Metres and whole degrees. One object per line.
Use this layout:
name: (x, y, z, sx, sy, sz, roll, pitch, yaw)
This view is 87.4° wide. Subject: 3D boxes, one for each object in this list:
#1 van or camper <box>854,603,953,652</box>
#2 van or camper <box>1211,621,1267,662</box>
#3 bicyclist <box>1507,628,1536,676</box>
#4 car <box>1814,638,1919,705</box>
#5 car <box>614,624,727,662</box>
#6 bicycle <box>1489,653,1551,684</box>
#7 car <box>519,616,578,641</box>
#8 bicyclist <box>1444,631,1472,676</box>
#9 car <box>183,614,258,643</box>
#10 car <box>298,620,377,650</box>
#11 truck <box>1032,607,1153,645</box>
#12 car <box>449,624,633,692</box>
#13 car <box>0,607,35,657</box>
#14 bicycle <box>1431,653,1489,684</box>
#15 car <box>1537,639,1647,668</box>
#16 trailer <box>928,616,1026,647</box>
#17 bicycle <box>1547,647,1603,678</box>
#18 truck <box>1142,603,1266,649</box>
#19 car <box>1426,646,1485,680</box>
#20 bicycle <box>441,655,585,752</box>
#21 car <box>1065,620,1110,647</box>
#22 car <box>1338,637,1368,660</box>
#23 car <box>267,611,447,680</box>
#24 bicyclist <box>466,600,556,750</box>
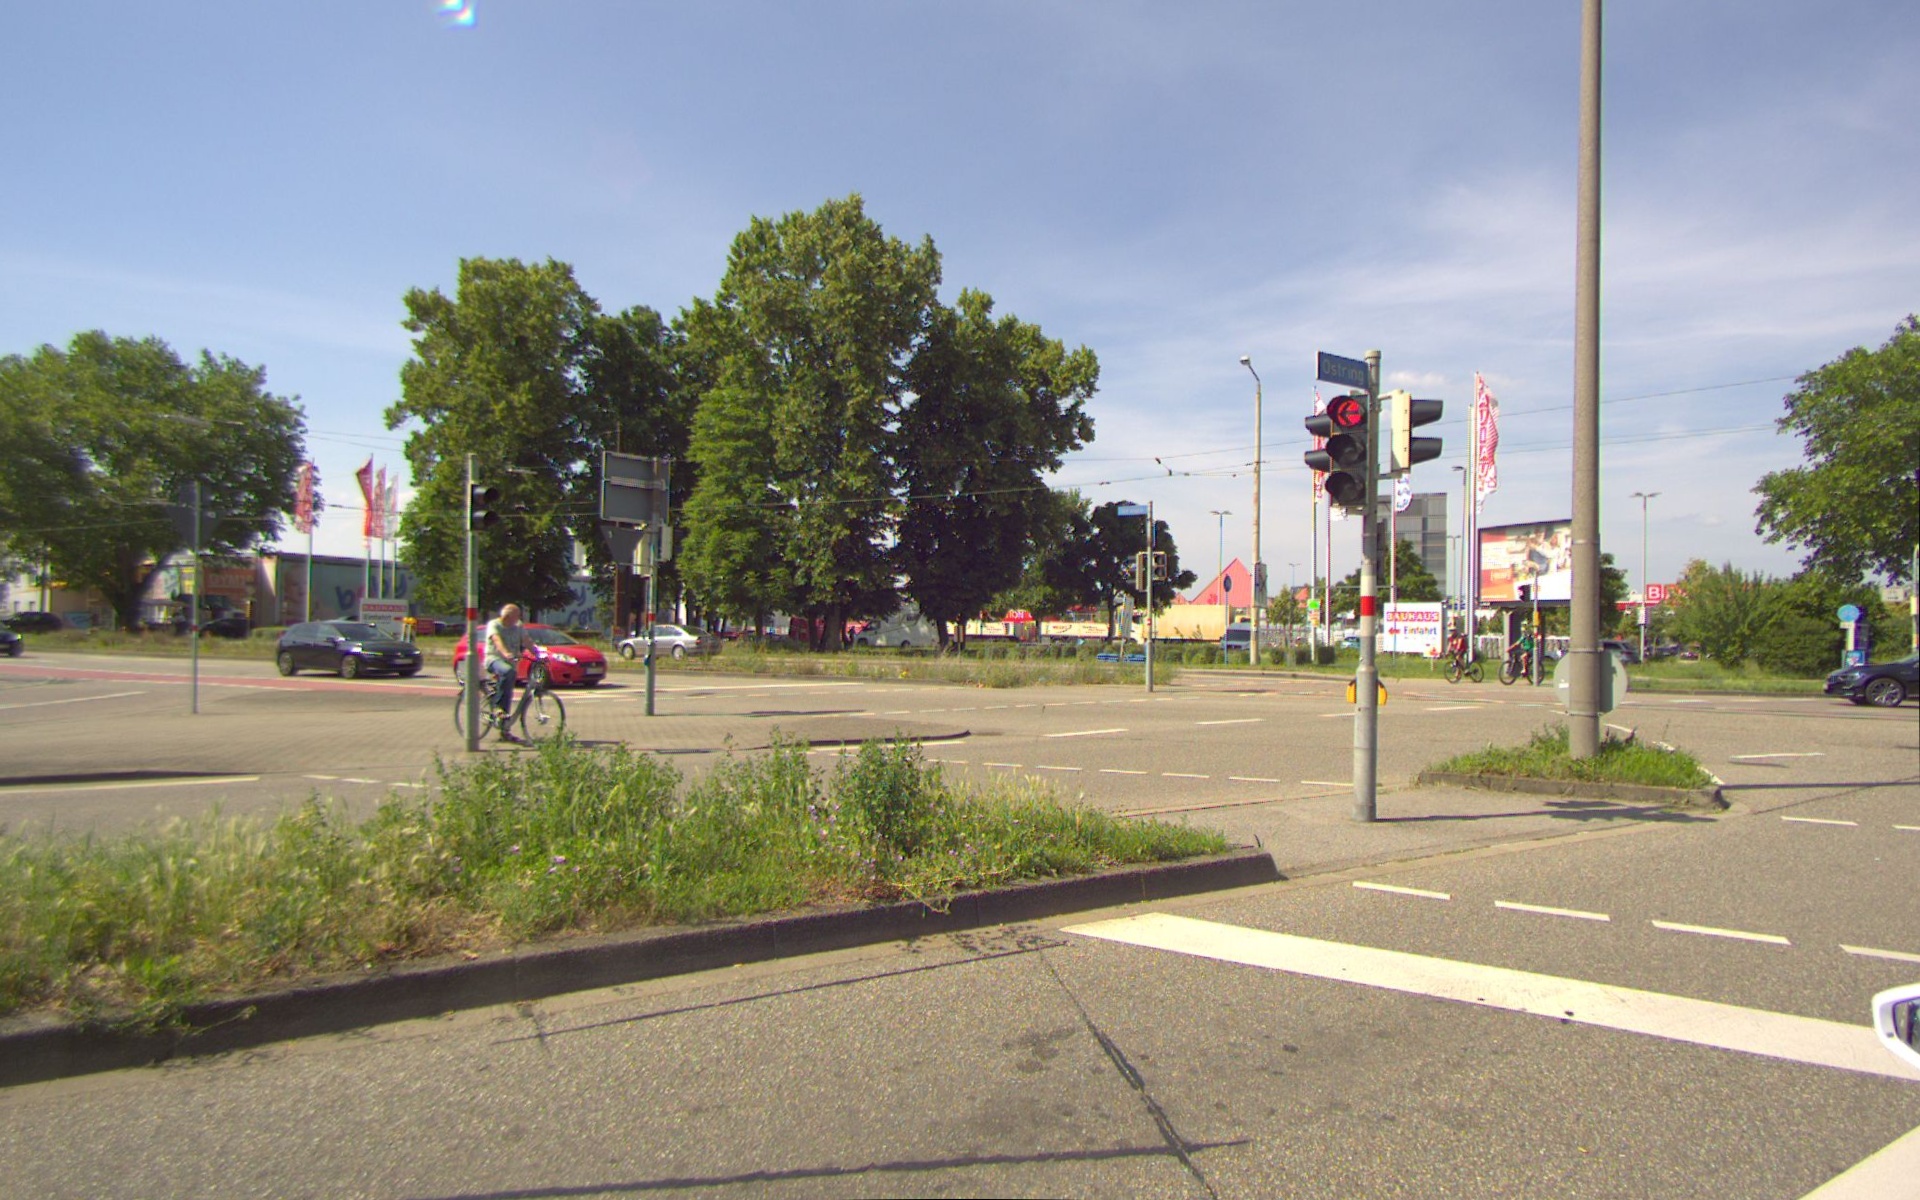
van or camper: (-3.884, 1.838, 68.785, 6.207, 3.141, 2.709, 1, -1, 26)
van or camper: (16.194, 2.398, 58.169, 2.155, 2.239, 5.513, 0, -2, 26)
bicyclist: (17.719, 1.637, 31.707, 0.599, 1.511, 0.528, 1, -1, -15)
car: (22.307, 1.637, 22.827, 4.147, 1.462, 1.786, 0, -2, 31)
car: (-11.573, 1.684, 40.096, 4.380, 1.430, 1.637, 0, -2, 28)
bicycle: (17.664, 2.166, 31.687, 1.963, 0.950, 0.416, 1, -1, -14)
car: (-39.194, 2.710, 95.800, 2.112, 2.308, 5.037, 0, -2, 26)
bicyclist: (15.985, 1.715, 32.253, 0.598, 1.432, 0.529, 1, -1, -7)
car: (-52.990, 2.050, 72.019, 1.971, 2.040, 3.980, 0, -2, 41)
car: (-31.996, 1.770, 51.622, 3.788, 1.446, 1.698, 0, -2, 26)
truck: (10.919, 2.134, 83.074, 9.431, 2.930, 2.925, 0, -2, 24)
car: (-9.931, 1.321, 23.813, 3.924, 1.468, 1.846, 0, -2, 25)
car: (-35.023, 1.118, 35.337, 3.921, 1.721, 2.000, 0, -2, 19)
bicycle: (16.018, 2.183, 32.205, 1.719, 0.950, 0.434, 1, -1, -8)
car: (33.651, 2.819, 53.598, 2.180, 1.432, 4.529, 2, -2, -37)
trailer: (1.421, 2.713, 87.544, 8.057, 2.523, 2.924, 0, -2, 26)
bicycle: (21.590, 2.202, 35.276, 1.864, 1.051, 0.594, 1, -1, -16)
truck: (18.480, 1.934, 76.201, 8.753, 3.355, 3.159, 0, -2, 23)
car: (26.375, 3.320, 53.608, 2.157, 1.593, 4.579, 0, -2, 17)
bicycle: (-5.655, 1.266, 12.643, 2.128, 1.078, 0.524, 0, -2, 31)
car: (12.546, 3.309, 98.444, 2.344, 2.562, 6.118, 0, -2, 28)
car: (27.920, 3.424, 71.337, 1.787, 1.593, 4.278, 0, -2, 24)
car: (-16.060, 1.187, 26.796, 3.920, 1.721, 2.001, 0, -2, 18)
bicyclist: (-5.645, 0.914, 12.641, 0.754, 1.812, 0.704, 0, -1, 31)
